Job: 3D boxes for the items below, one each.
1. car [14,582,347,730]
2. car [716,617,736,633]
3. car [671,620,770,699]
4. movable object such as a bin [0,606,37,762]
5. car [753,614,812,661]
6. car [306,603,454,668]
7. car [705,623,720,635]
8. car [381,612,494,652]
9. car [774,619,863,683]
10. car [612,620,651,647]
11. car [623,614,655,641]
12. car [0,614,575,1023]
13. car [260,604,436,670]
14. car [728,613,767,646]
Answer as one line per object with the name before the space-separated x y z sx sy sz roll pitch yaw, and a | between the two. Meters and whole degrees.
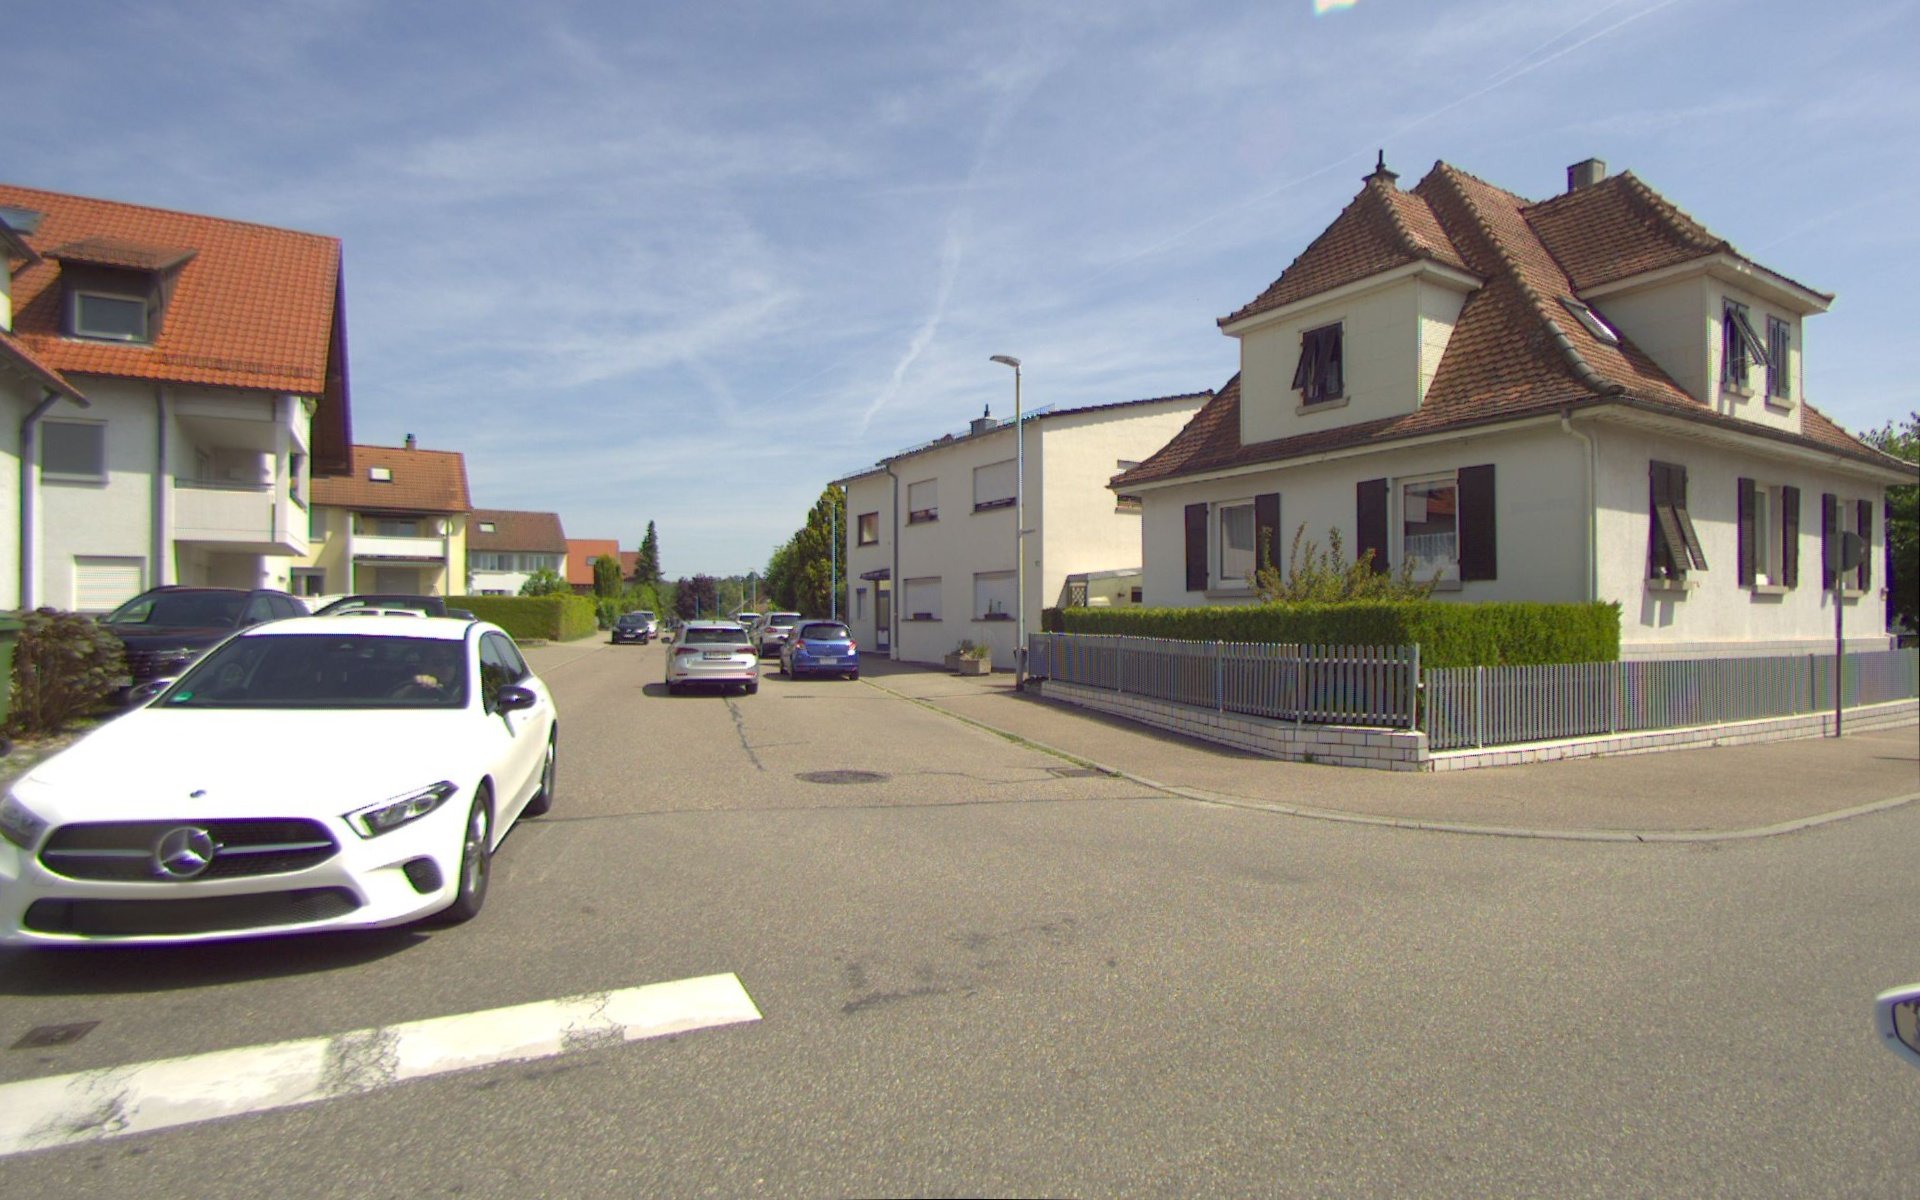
car | -10.101 0.681 13.510 1.760 1.567 4.268 4 -2 -12
car | -23.734 2.529 101.915 1.747 1.511 3.762 1 -1 -16
car | -5.144 1.170 21.154 1.731 1.457 4.571 1 -1 -17
movable object such as a bin | -8.941 0.715 8.458 1.293 1.354 1.261 2 -1 -20
car | -6.683 1.370 37.532 1.747 1.672 3.762 1 -1 -16
car | -14.575 0.907 25.389 3.087 1.545 1.222 2 -1 -26
car | -33.034 3.838 134.224 1.747 1.511 3.762 1 -1 -16
car | -19.532 1.191 37.585 3.622 1.408 1.452 1 0 -32
car | -3.747 1.282 26.114 1.747 1.511 3.762 1 -1 -16
car | -16.171 1.625 49.361 1.754 1.194 3.982 1 -1 -19
car | -18.881 1.591 59.188 1.753 1.524 3.985 1 -1 -17
car | -3.469 0.801 5.792 1.898 1.416 4.479 1 -1 -16
car | -13.953 0.856 23.089 3.337 1.417 1.319 1 -2 -29
car | -11.469 1.569 54.046 1.747 1.672 3.762 1 -1 -16
